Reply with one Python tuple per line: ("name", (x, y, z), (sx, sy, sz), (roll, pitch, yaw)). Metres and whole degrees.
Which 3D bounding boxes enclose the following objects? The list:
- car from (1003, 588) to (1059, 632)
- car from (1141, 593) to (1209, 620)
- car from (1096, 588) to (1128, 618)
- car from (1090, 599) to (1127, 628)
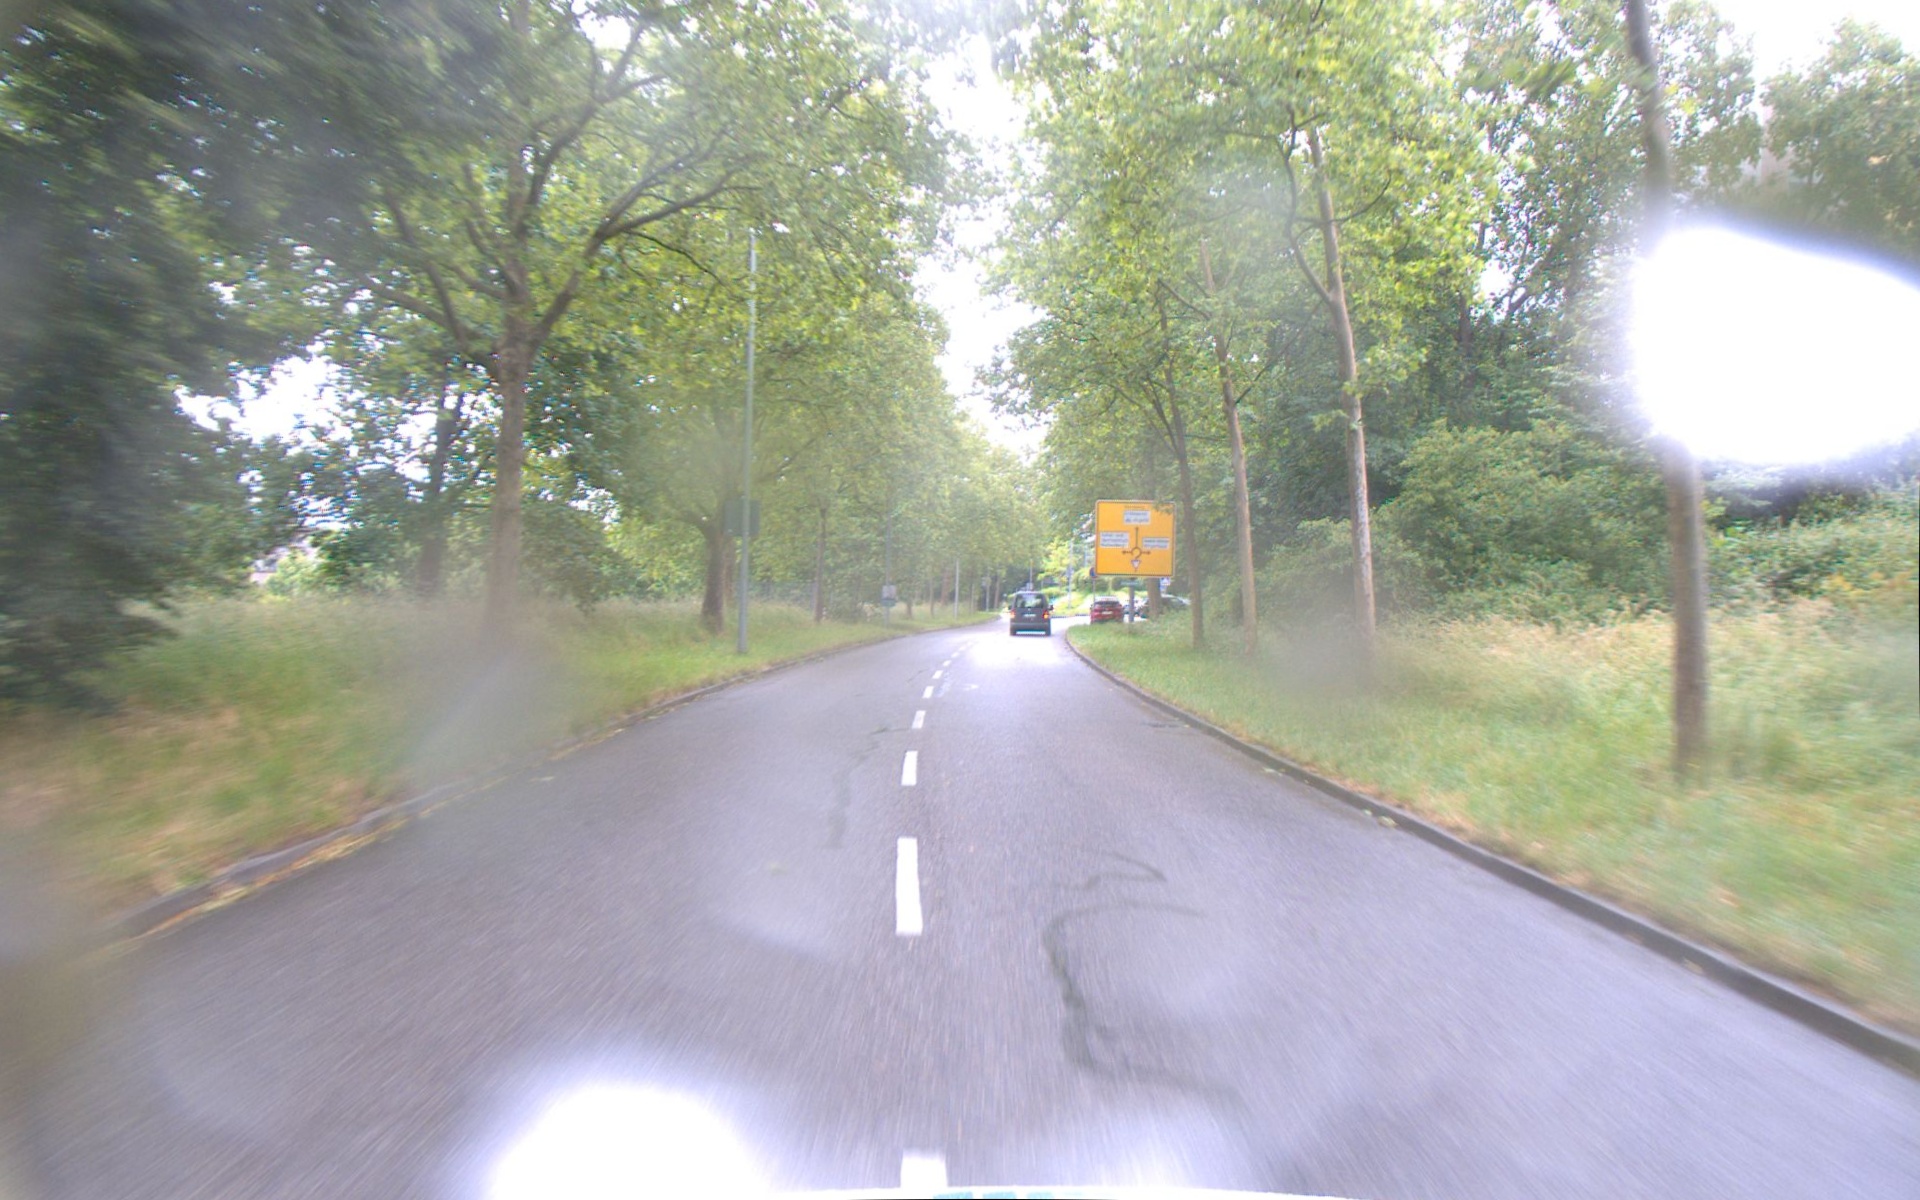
("car", (3.092, 0.411, 71.311), (1.877, 1.833, 3.793), (1, 0, 11))
("car", (14.105, 0.426, 108.405), (4.375, 1.709, 1.769), (1, 1, 7))
("car", (8.495, 0.192, 92.466), (1.691, 1.619, 4.255), (-1, -1, 6))
("car", (7.429, 0.657, 82.596), (1.759, 1.396, 3.746), (-1, 0, 6))
